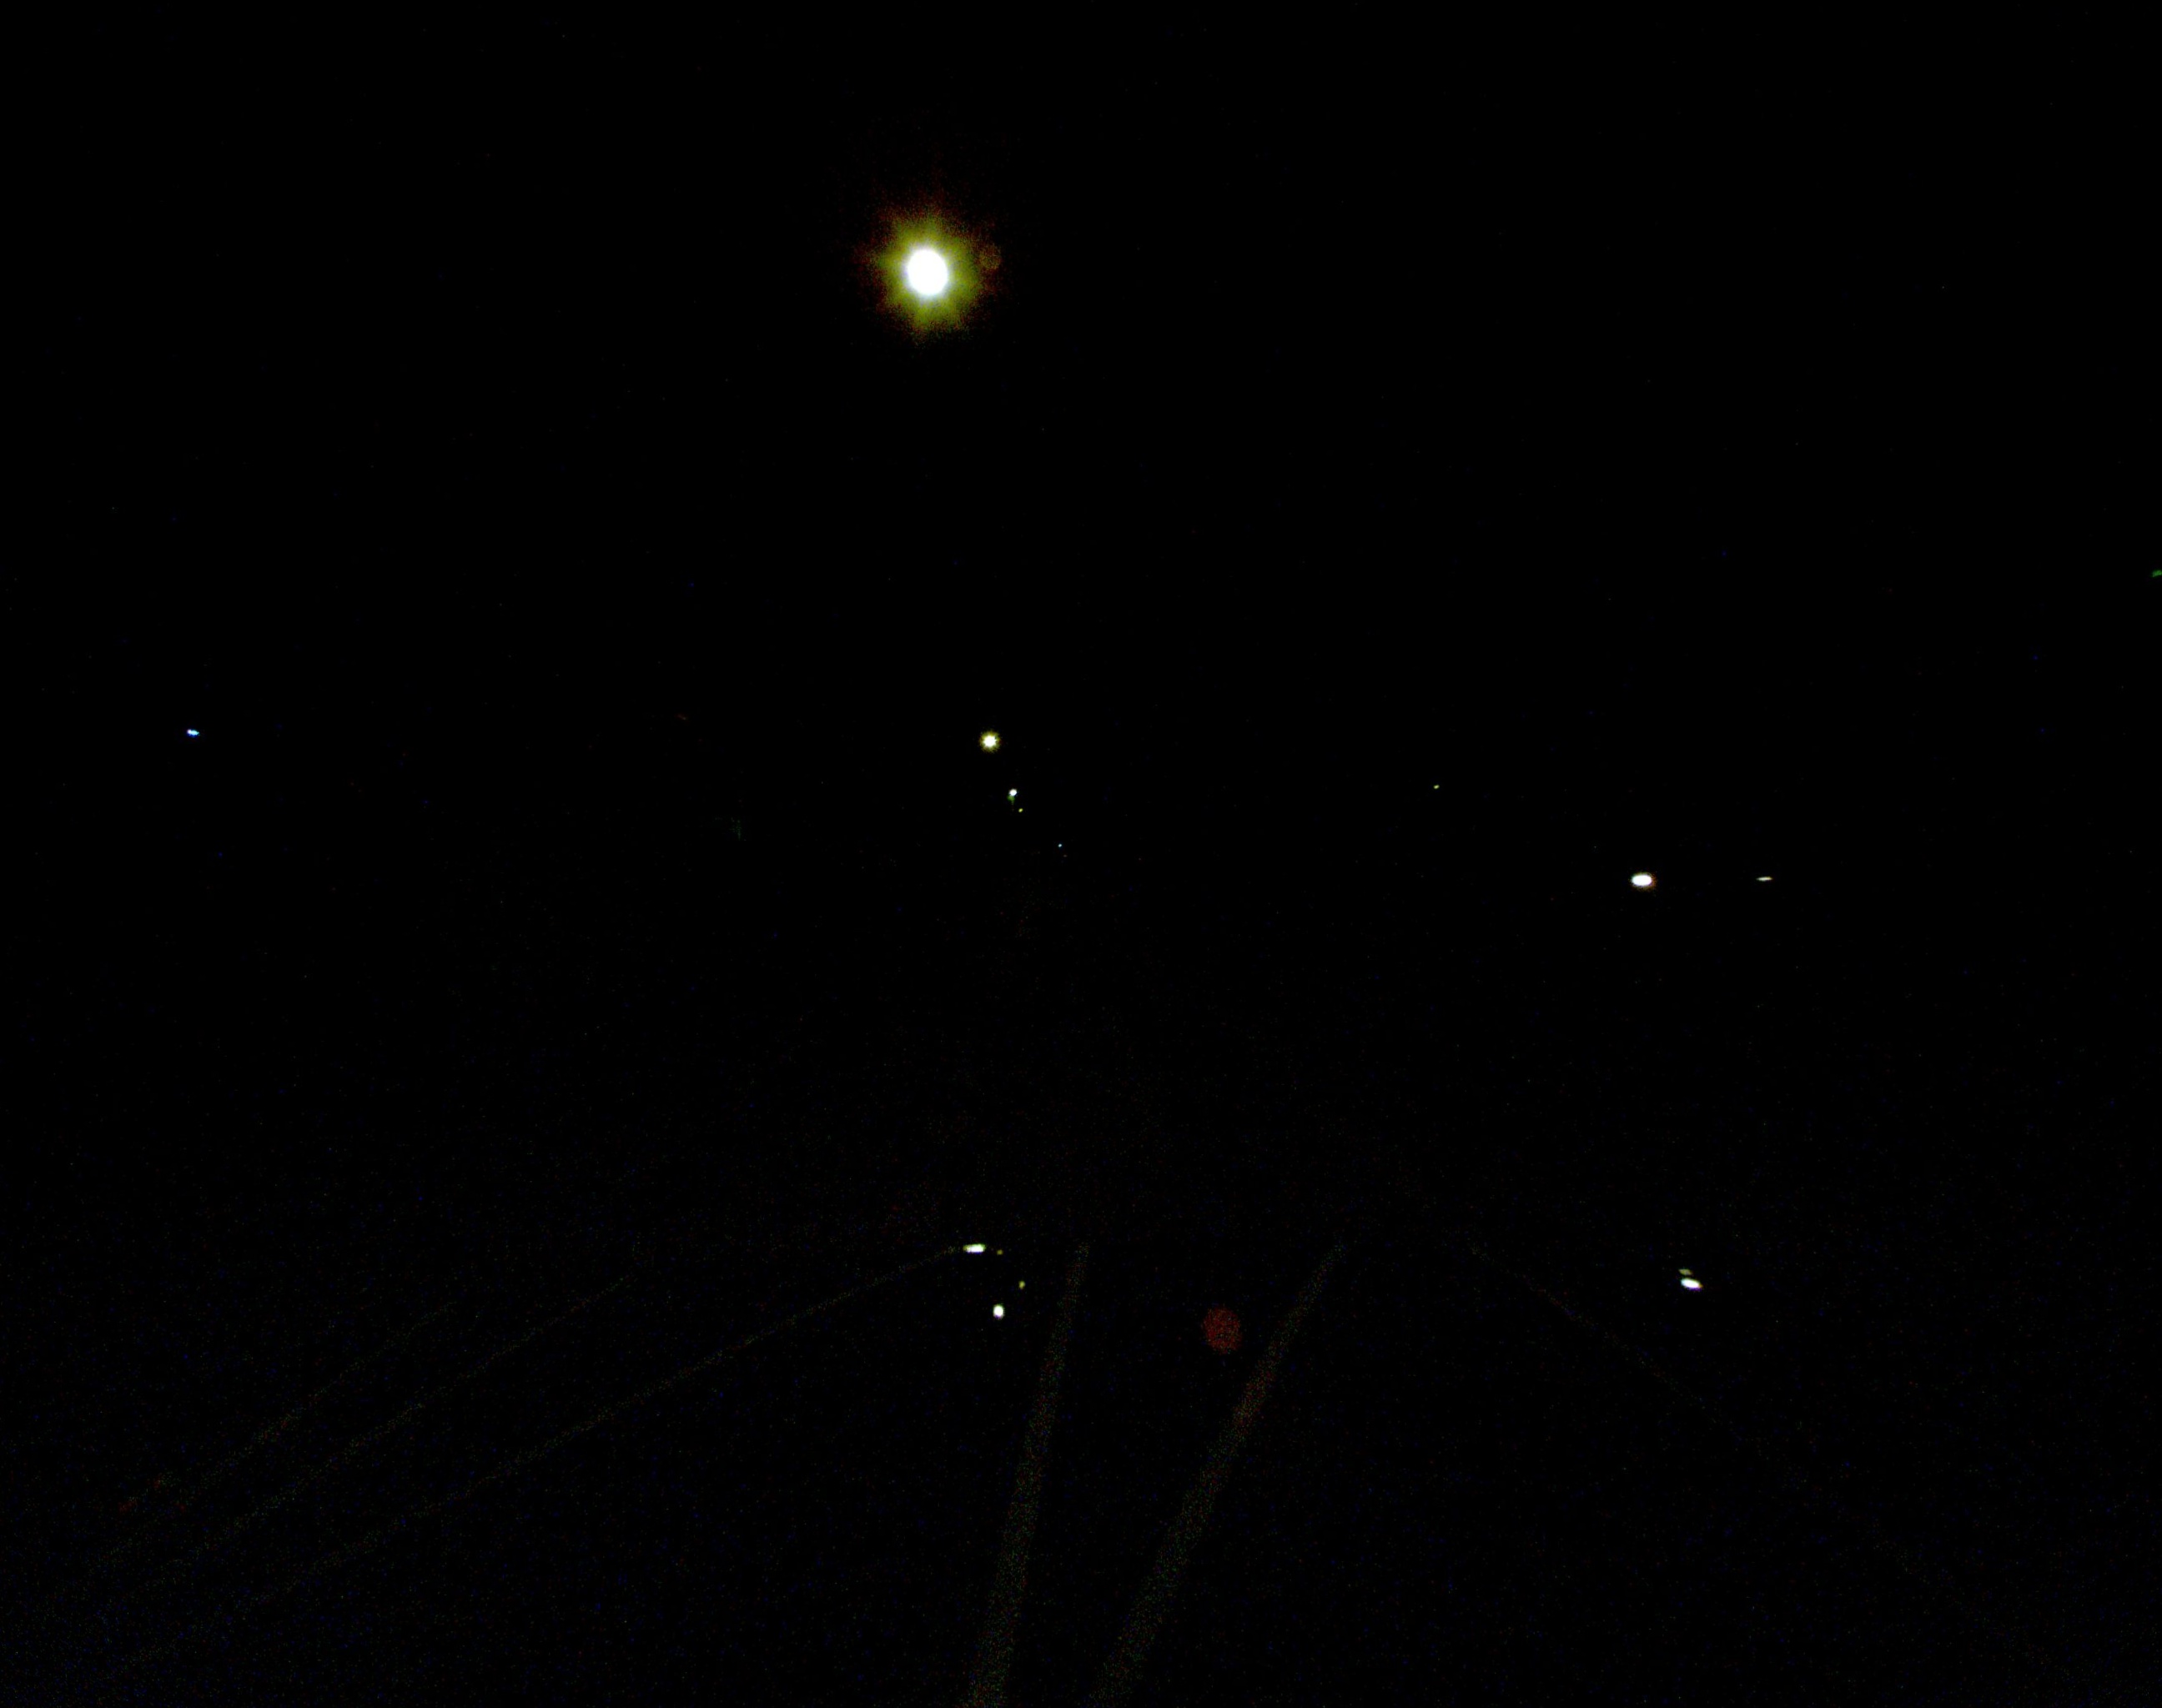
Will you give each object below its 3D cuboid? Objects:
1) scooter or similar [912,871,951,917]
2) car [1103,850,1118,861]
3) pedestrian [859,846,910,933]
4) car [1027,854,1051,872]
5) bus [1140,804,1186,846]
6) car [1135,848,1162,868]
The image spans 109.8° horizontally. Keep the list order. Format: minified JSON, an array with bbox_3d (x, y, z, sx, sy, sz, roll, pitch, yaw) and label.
[{"bbox_3d":[-4.089,1.090,20.868,0.468,1.195,1.137,-2,-1,23],"label":"scooter or similar"},{"bbox_3d":[4.101,0.194,105.401,1.863,1.484,4.080,-2,0,-1],"label":"car"},{"bbox_3d":[-4.331,0.756,16.834,0.819,1.854,1.034,-2,1,-1],"label":"pedestrian"},{"bbox_3d":[-4.586,0.961,83.021,1.998,1.638,3.999,4,3,4],"label":"car"},{"bbox_3d":[14.311,-4.914,134.549,6.136,6.898,14.780,-2,0,0],"label":"bus"},{"bbox_3d":[5.819,0.332,65.841,1.806,1.583,3.999,-2,0,-1],"label":"car"}]
